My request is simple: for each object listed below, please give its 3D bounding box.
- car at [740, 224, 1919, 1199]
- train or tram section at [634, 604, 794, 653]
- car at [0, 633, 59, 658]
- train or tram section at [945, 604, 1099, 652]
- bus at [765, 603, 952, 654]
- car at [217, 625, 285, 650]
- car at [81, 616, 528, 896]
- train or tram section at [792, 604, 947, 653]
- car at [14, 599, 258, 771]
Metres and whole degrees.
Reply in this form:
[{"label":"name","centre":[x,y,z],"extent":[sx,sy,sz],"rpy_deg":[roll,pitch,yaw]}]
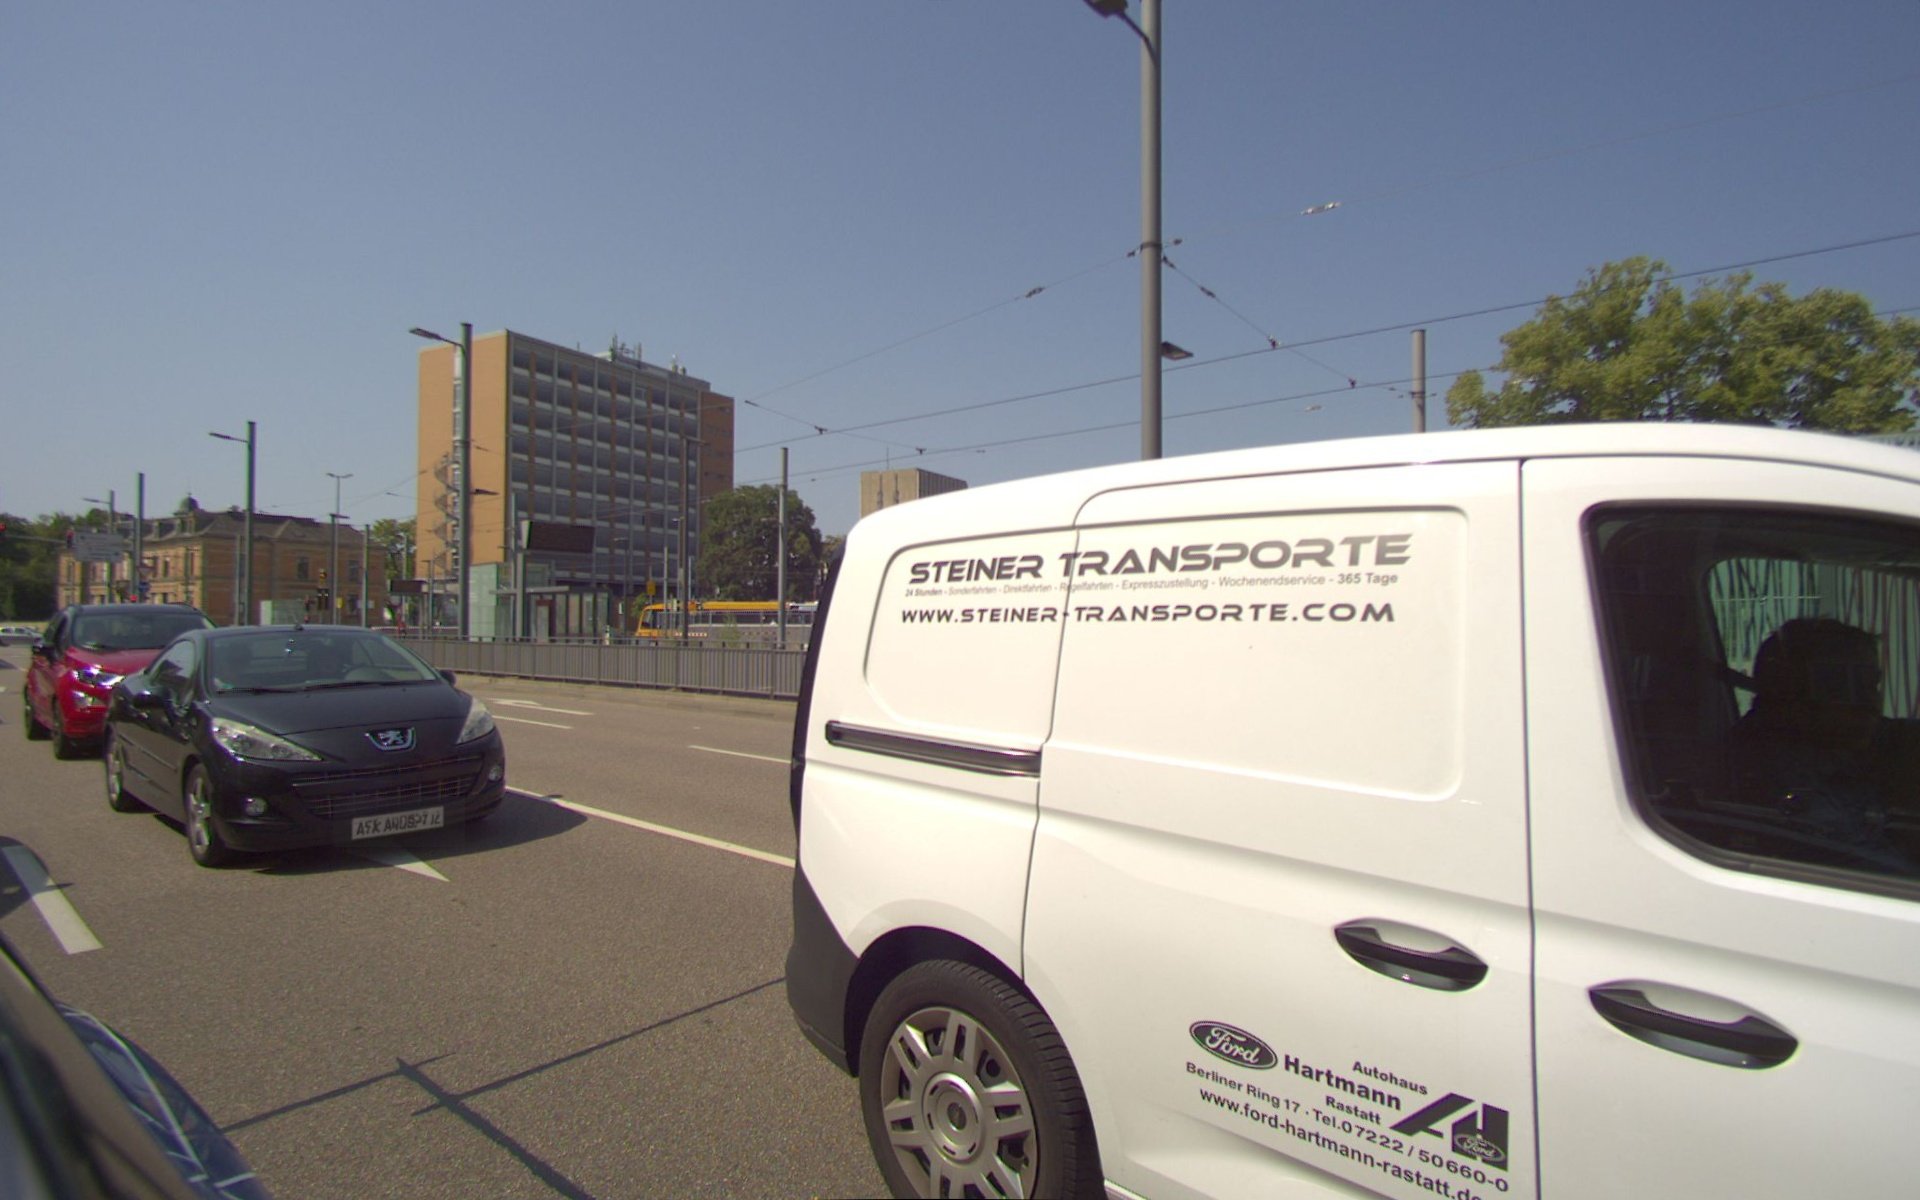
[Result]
[{"label":"car","centre":[1.587,0.493,1.868],"extent":[4.237,1.834,1.729],"rpy_deg":[-1,-1,41]},{"label":"train or tram section","centre":[-19.312,2.229,79.937],"extent":[12.180,3.794,2.002],"rpy_deg":[0,-2,-4]},{"label":"car","centre":[-65.692,3.155,70.667],"extent":[3.814,1.597,1.694],"rpy_deg":[-1,0,-26]},{"label":"train or tram section","centre":[4.977,2.303,81.734],"extent":[12.180,3.794,2.002],"rpy_deg":[0,-2,-4]},{"label":"bus","centre":[-7.312,2.019,73.635],"extent":[13.205,3.319,3.354],"rpy_deg":[-1,0,-4]},{"label":"car","centre":[-54.009,2.847,77.176],"extent":[4.215,1.745,1.888],"rpy_deg":[-1,0,-34]},{"label":"car","centre":[-4.750,0.849,7.125],"extent":[3.799,1.424,1.671],"rpy_deg":[-1,-1,41]},{"label":"train or tram section","centre":[-7.179,2.289,80.835],"extent":[12.180,3.794,2.002],"rpy_deg":[0,-2,-4]},{"label":"car","centre":[-9.508,0.844,11.563],"extent":[3.967,1.633,1.612],"rpy_deg":[-1,-1,43]}]
